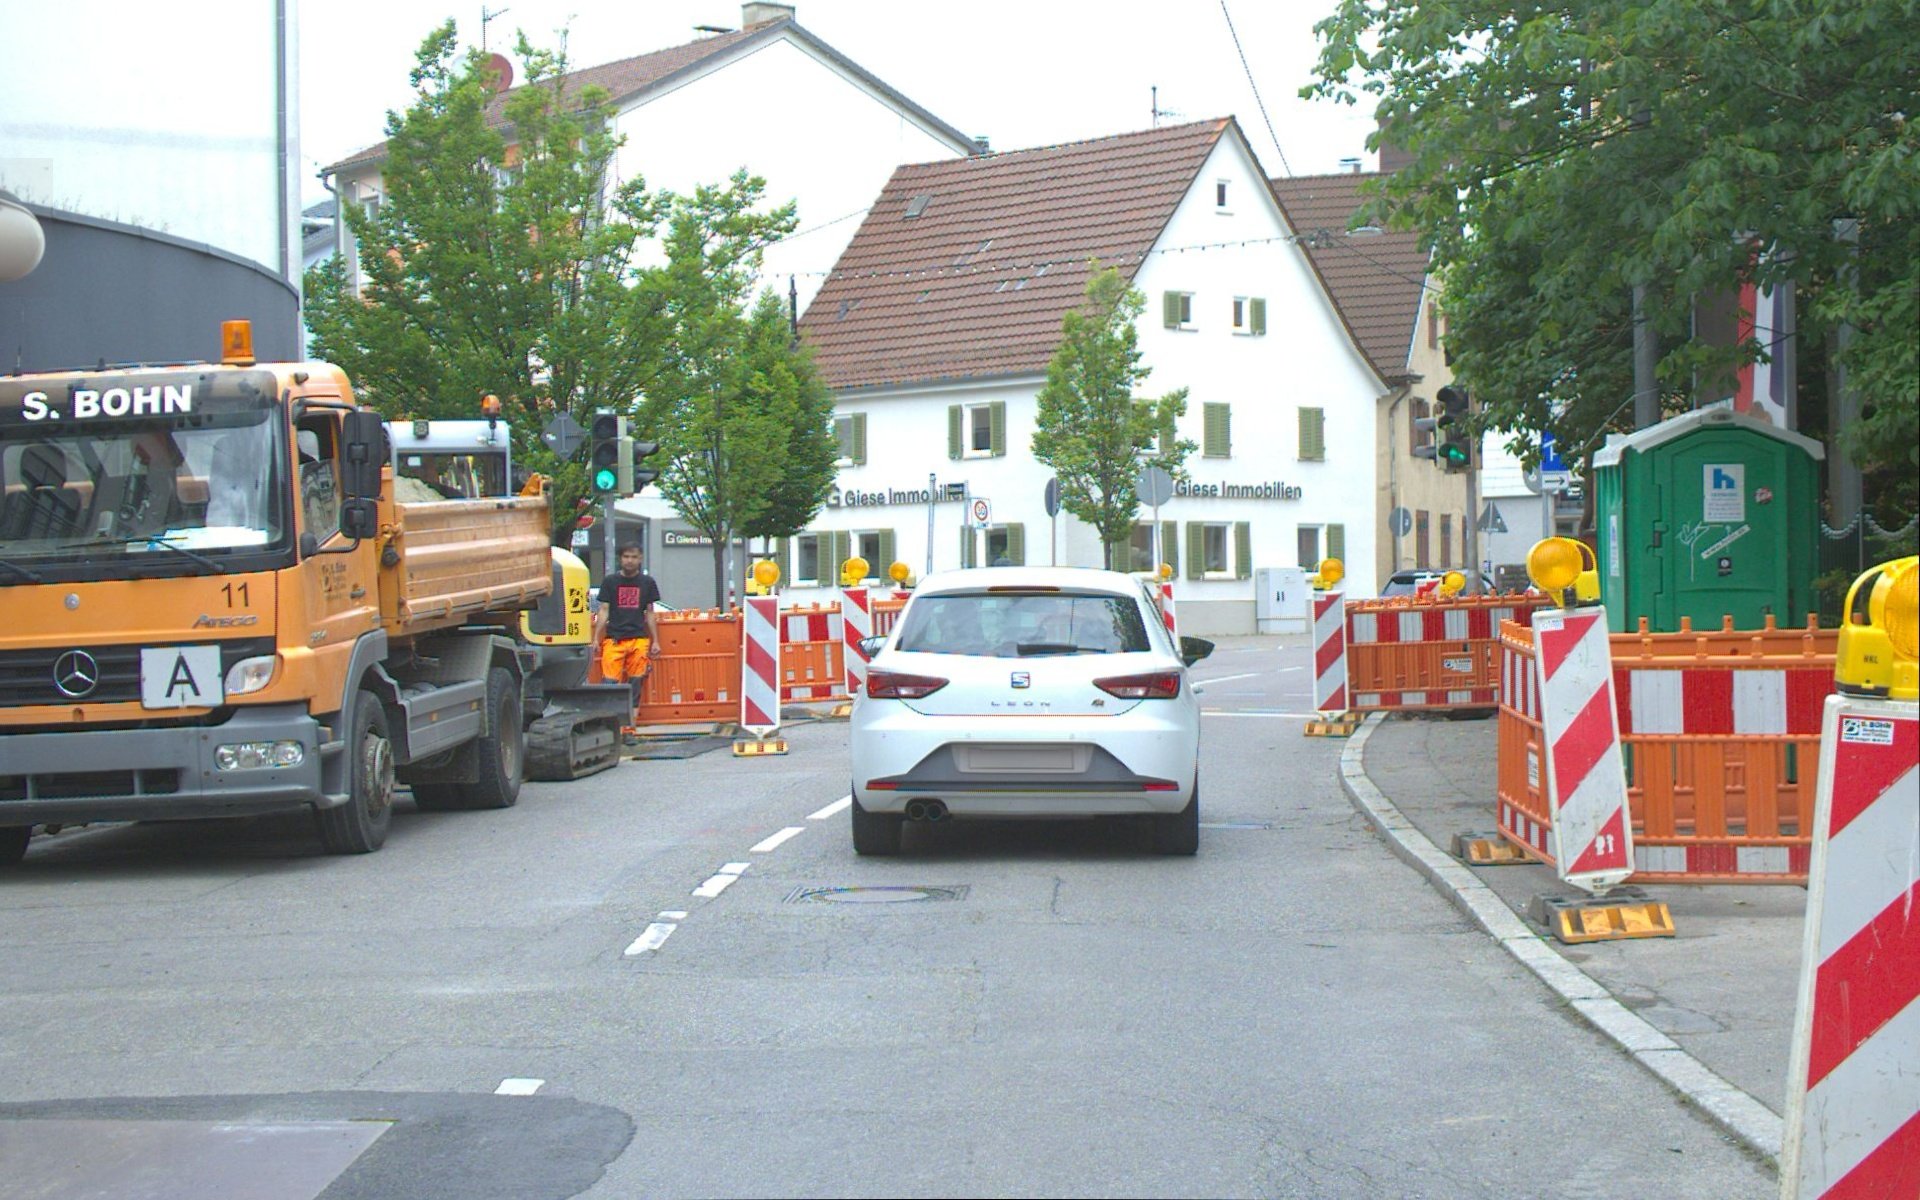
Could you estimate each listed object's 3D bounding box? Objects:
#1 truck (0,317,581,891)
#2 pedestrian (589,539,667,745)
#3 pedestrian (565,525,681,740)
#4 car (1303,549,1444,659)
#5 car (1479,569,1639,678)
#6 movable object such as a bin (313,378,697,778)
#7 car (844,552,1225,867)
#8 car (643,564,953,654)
[{"bbox_3d":[-4.223,-0.027,19.886,2.732,2.715,6.847,-1,1,5],"label":"truck"},{"bbox_3d":[-2.838,0.352,29.390,0.537,1.738,0.443,-1,0,9],"label":"pedestrian"},{"bbox_3d":[-2.882,0.271,29.495,0.814,1.809,0.743,-1,0,8],"label":"pedestrian"},{"bbox_3d":[6.097,0.031,50.344,1.812,1.475,3.869,-1,1,10],"label":"car"},{"bbox_3d":[11.597,0.439,66.372,1.996,2.007,3.994,-1,0,26],"label":"car"},{"bbox_3d":[-3.350,-0.130,26.215,1.839,2.754,4.504,-1,-1,6],"label":"movable object such as a bin"},{"bbox_3d":[0.389,0.495,18.305,1.811,1.475,3.870,0,1,1],"label":"car"},{"bbox_3d":[-2.684,0.134,57.751,4.904,1.472,2.249,0,1,6],"label":"car"}]
